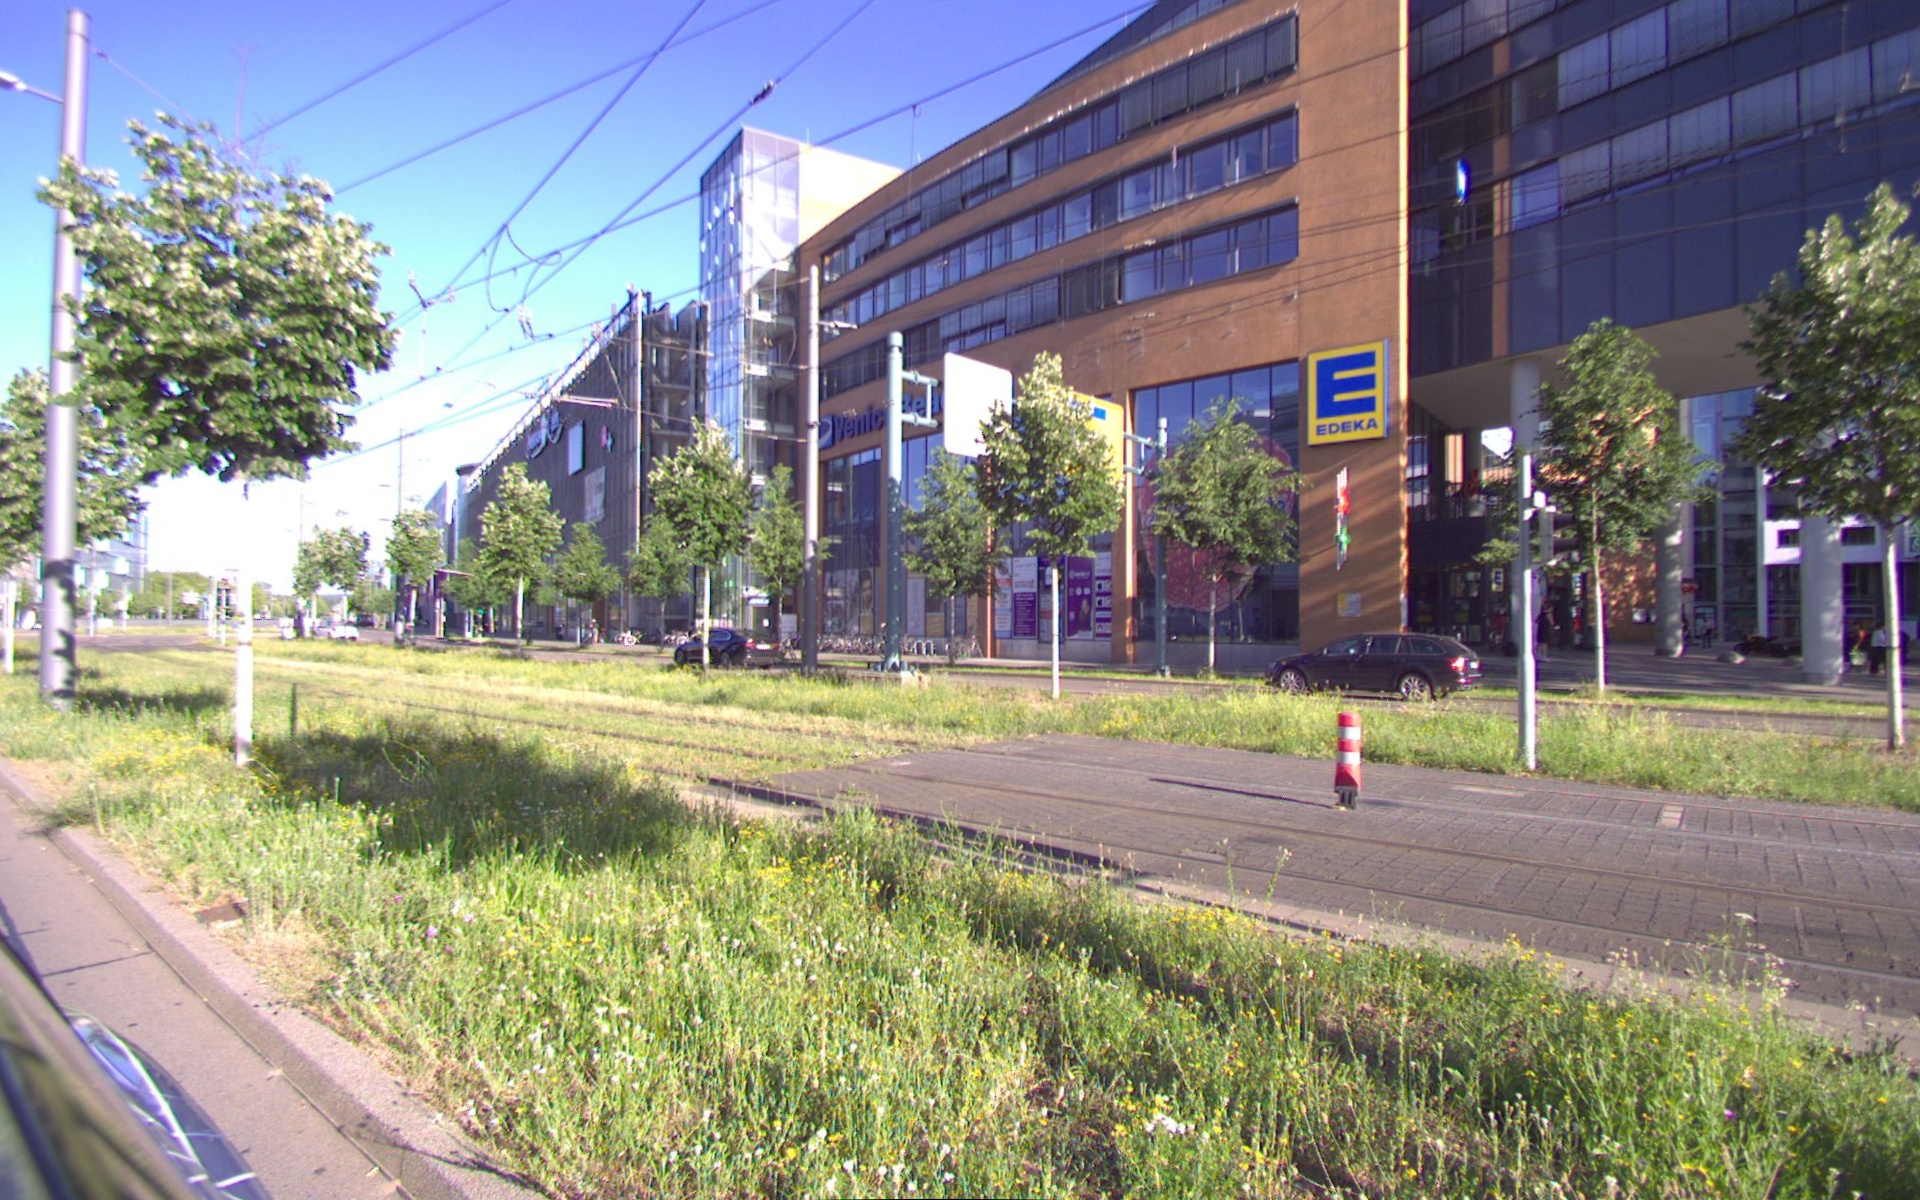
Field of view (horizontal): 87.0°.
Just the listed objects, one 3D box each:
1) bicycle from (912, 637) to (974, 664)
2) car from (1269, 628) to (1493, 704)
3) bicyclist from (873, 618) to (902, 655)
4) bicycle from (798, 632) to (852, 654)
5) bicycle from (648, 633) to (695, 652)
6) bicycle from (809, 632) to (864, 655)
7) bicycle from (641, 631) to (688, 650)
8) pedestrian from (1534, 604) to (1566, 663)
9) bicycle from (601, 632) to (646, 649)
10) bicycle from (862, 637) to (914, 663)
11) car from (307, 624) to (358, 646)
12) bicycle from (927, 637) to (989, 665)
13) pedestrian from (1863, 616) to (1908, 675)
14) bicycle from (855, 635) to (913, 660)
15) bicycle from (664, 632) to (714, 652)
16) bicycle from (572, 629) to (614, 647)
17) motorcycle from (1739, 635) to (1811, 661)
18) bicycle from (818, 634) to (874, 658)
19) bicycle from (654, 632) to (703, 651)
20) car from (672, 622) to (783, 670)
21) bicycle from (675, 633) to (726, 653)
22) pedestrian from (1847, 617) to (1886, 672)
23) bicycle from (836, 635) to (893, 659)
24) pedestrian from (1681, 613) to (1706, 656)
[{"bbox_3d":[-0.717,2.159,43.422,2.648,1.112,0.897,1,-3,-39],"label":"bicycle"},{"bbox_3d":[9.313,1.400,22.614,4.354,1.539,1.605,-1,-3,42],"label":"car"},{"bbox_3d":[-3.125,1.570,43.836,0.881,1.560,0.941,1,-3,-39],"label":"bicyclist"},{"bbox_3d":[-6.877,2.193,51.536,2.648,1.112,0.897,1,-3,-39],"label":"bicycle"},{"bbox_3d":[-17.465,2.573,61.310,2.648,1.112,0.827,1,-3,-39],"label":"bicycle"},{"bbox_3d":[-6.149,2.181,50.599,2.648,1.112,0.897,1,-3,-39],"label":"bicycle"},{"bbox_3d":[-18.081,2.488,61.997,2.648,1.112,0.897,1,-3,-39],"label":"bicycle"},{"bbox_3d":[17.656,0.999,30.285,0.698,1.718,0.724,-1,-2,40],"label":"pedestrian"},{"bbox_3d":[-21.962,2.627,66.011,2.648,1.112,0.897,1,-3,-39],"label":"bicycle"},{"bbox_3d":[-3.128,2.156,43.820,0.881,1.112,2.697,1,-3,-38],"label":"bicycle"},{"bbox_3d":[-45.487,2.519,73.369,4.348,1.539,1.658,-1,-3,37],"label":"car"},{"bbox_3d":[-0.063,2.124,42.602,2.648,1.112,0.897,1,-3,-39],"label":"bicycle"},{"bbox_3d":[26.871,1.318,29.384,0.705,1.693,0.832,2,-4,-42],"label":"pedestrian"},{"bbox_3d":[-3.544,2.199,47.167,2.648,1.112,0.897,1,-3,-39],"label":"bicycle"},{"bbox_3d":[-15.822,2.454,59.117,2.648,1.112,0.897,1,-3,-39],"label":"bicycle"},{"bbox_3d":[-25.566,2.632,70.503,2.648,1.198,0.897,1,-3,-39],"label":"bicycle"},{"bbox_3d":[35.702,2.083,44.371,0.819,1.066,2.347,1,-2,-40],"label":"motorcycle"},{"bbox_3d":[-5.546,2.225,49.411,2.648,1.112,0.897,1,-3,-39],"label":"bicycle"},{"bbox_3d":[-16.826,2.466,60.560,2.648,1.112,0.897,1,-3,-39],"label":"bicycle"},{"bbox_3d":[-8.010,1.558,34.638,4.357,1.539,1.603,-2,-3,45],"label":"car"},{"bbox_3d":[-14.743,2.440,57.491,2.648,1.112,0.897,1,-3,-39],"label":"bicycle"},{"bbox_3d":[27.596,1.335,30.811,0.688,1.635,0.735,1,-2,-37],"label":"pedestrian"},{"bbox_3d":[-4.513,2.212,48.094,2.648,1.112,0.897,1,-3,-39],"label":"bicycle"},{"bbox_3d":[28.257,1.324,38.968,0.698,1.635,0.724,-1,-2,40],"label":"pedestrian"}]
